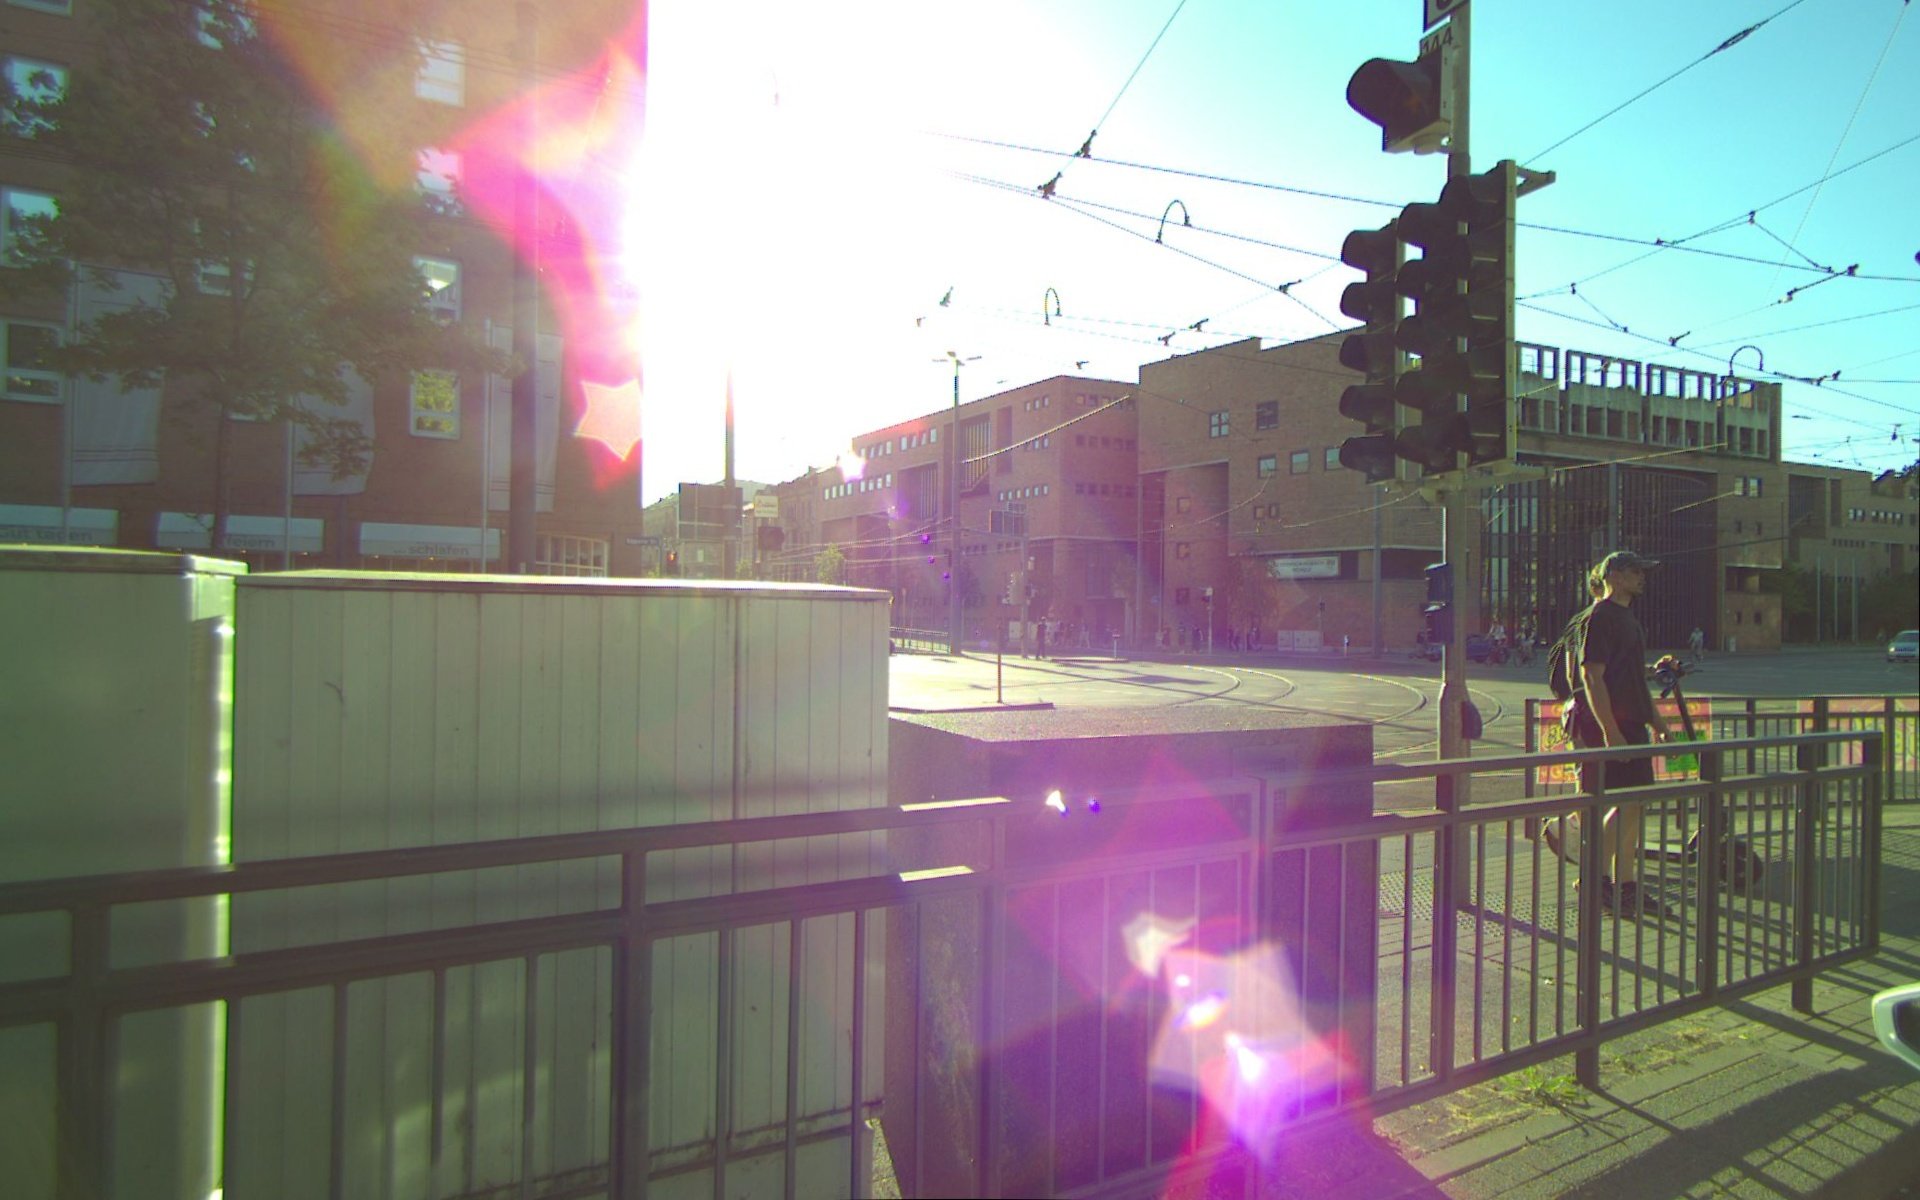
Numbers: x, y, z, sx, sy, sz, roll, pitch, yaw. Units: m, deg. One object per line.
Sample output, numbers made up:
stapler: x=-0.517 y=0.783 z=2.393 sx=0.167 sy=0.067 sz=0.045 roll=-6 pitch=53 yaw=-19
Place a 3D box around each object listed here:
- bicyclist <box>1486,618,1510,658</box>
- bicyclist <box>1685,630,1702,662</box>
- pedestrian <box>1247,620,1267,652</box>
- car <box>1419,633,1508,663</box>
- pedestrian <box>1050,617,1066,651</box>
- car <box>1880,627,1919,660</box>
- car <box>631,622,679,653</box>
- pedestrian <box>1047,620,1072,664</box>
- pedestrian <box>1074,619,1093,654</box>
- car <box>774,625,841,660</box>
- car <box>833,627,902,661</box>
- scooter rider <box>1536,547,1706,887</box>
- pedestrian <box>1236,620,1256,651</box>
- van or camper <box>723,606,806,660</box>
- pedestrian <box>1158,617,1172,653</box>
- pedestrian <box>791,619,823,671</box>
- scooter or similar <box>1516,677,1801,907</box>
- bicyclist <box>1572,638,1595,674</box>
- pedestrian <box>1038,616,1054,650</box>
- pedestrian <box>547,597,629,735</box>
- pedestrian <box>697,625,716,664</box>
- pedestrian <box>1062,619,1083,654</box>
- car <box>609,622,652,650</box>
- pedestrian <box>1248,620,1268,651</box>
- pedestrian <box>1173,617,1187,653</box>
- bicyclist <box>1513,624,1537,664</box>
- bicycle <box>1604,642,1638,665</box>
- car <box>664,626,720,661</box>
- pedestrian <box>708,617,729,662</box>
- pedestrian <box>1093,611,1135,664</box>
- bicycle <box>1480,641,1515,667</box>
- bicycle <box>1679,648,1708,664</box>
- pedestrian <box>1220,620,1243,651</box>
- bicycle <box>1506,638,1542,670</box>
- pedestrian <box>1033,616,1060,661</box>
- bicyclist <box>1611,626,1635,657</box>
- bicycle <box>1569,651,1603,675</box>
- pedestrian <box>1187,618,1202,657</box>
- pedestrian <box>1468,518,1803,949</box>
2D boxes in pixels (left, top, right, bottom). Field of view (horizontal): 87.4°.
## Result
bicyclist: x=22.130 y=1.552 z=41.290 sx=0.753 sy=1.595 sz=0.655 roll=1 pitch=-2 yaw=-41
bicyclist: x=37.794 y=2.370 z=51.772 sx=0.509 sy=1.647 sz=0.583 roll=1 pitch=-1 yaw=-35
pedestrian: x=19.657 y=2.374 z=66.420 sx=0.841 sy=2.079 sz=1.001 roll=1 pitch=-1 yaw=-32
car: x=24.421 y=2.319 z=48.741 sx=3.648 sy=1.394 sz=1.584 roll=1 pitch=-1 yaw=-9
pedestrian: x=5.929 y=2.040 z=60.603 sx=0.644 sy=2.040 sz=0.780 roll=1 pitch=-1 yaw=-32
car: x=48.947 y=2.229 z=51.728 sx=3.962 sy=1.598 sz=1.610 roll=1 pitch=-2 yaw=-36
car: x=-18.244 y=2.218 z=59.973 sx=1.738 sy=1.750 sz=3.965 roll=1 pitch=-2 yaw=-32
pedestrian: x=4.179 y=1.771 z=42.207 sx=0.797 sy=1.801 sz=0.623 roll=2 pitch=0 yaw=-30
pedestrian: x=7.271 y=2.147 z=59.127 sx=0.742 sy=2.010 sz=0.780 roll=1 pitch=-1 yaw=-32
car: x=-7.804 y=2.143 z=51.183 sx=1.978 sy=1.709 sz=3.965 roll=1 pitch=-2 yaw=-33
car: x=-4.814 y=2.236 z=51.808 sx=1.978 sy=1.709 sz=3.965 roll=1 pitch=-2 yaw=-33
scooter rider: x=3.915 y=0.666 z=5.961 sx=0.670 sy=1.877 sz=0.564 roll=3 pitch=-2 yaw=-25
pedestrian: x=19.138 y=2.365 z=67.210 sx=0.841 sy=2.079 sz=1.001 roll=1 pitch=-1 yaw=-32
van or camper: x=-9.377 y=1.564 z=47.880 sx=1.981 sy=2.451 sz=4.980 roll=1 pitch=-2 yaw=-36
pedestrian: x=11.529 y=1.954 z=56.444 sx=0.603 sy=2.040 sz=0.731 roll=0 pitch=-1 yaw=30
pedestrian: x=-5.250 y=1.540 z=34.475 sx=0.860 sy=1.775 sz=0.670 roll=1 pitch=-2 yaw=-39
scooter or similar: x=3.980 y=1.031 z=5.804 sx=0.639 sy=1.095 sz=1.199 roll=1 pitch=-1 yaw=-25
bicyclist: x=28.258 y=2.517 z=45.538 sx=0.752 sy=1.590 sz=0.656 roll=1 pitch=-2 yaw=-37
pedestrian: x=5.195 y=2.015 z=60.702 sx=0.607 sy=2.040 sz=0.727 roll=1 pitch=-1 yaw=-32
pedestrian: x=-5.206 y=0.891 z=14.027 sx=0.945 sy=1.822 sz=0.987 roll=2 pitch=0 yaw=-26
pedestrian: x=-12.119 y=2.124 z=48.031 sx=0.597 sy=1.843 sz=0.848 roll=1 pitch=-1 yaw=-38
pedestrian: x=6.580 y=2.124 z=58.643 sx=0.917 sy=2.010 sz=0.780 roll=1 pitch=-1 yaw=-32
car: x=-21.540 y=2.332 z=65.512 sx=1.738 sy=1.750 sz=3.965 roll=1 pitch=-2 yaw=-32
pedestrian: x=20.131 y=2.395 z=67.811 sx=0.841 sy=2.079 sz=1.001 roll=1 pitch=-1 yaw=-32
pedestrian: x=12.273 y=1.952 z=56.062 sx=0.603 sy=2.040 sz=0.731 roll=0 pitch=-1 yaw=30
bicyclist: x=22.942 y=1.769 z=40.782 sx=0.753 sy=1.581 sz=0.675 roll=-1 pitch=0 yaw=-44
bicycle: x=31.522 y=2.537 z=47.910 sx=1.993 sy=1.064 sz=0.647 roll=2 pitch=-1 yaw=-35
car: x=-14.467 y=2.313 z=54.083 sx=1.739 sy=1.750 sz=3.963 roll=1 pitch=-2 yaw=-33
pedestrian: x=-11.000 y=1.783 z=45.726 sx=0.597 sy=2.040 sz=0.848 roll=1 pitch=-1 yaw=-38
pedestrian: x=6.083 y=1.492 z=39.721 sx=1.193 sy=2.040 sz=1.028 roll=2 pitch=0 yaw=-30
bicycle: x=22.080 y=2.206 z=41.257 sx=1.887 sy=1.011 sz=0.647 roll=2 pitch=-2 yaw=-41
bicycle: x=37.842 y=2.897 z=51.803 sx=1.948 sy=0.781 sz=0.586 roll=1 pitch=-2 yaw=-35
pedestrian: x=17.854 y=2.312 z=65.971 sx=0.902 sy=2.040 sz=1.151 roll=1 pitch=-1 yaw=-34
bicycle: x=22.845 y=2.170 z=40.668 sx=2.096 sy=1.157 sz=0.678 roll=-1 pitch=0 yaw=-44
pedestrian: x=3.730 y=1.652 z=43.439 sx=0.866 sy=1.927 sz=0.718 roll=2 pitch=0 yaw=-33
bicyclist: x=31.709 y=1.981 z=48.034 sx=1.022 sy=1.494 sz=0.649 roll=2 pitch=-1 yaw=-35
bicycle: x=28.459 y=2.854 z=45.683 sx=1.884 sy=1.011 sz=0.688 roll=1 pitch=-2 yaw=-37
pedestrian: x=12.549 y=2.008 z=53.721 sx=0.603 sy=2.040 sz=0.731 roll=0 pitch=-1 yaw=30
pedestrian: x=3.417 y=0.610 z=5.172 sx=0.843 sy=1.908 sz=1.164 roll=1 pitch=-1 yaw=-25
